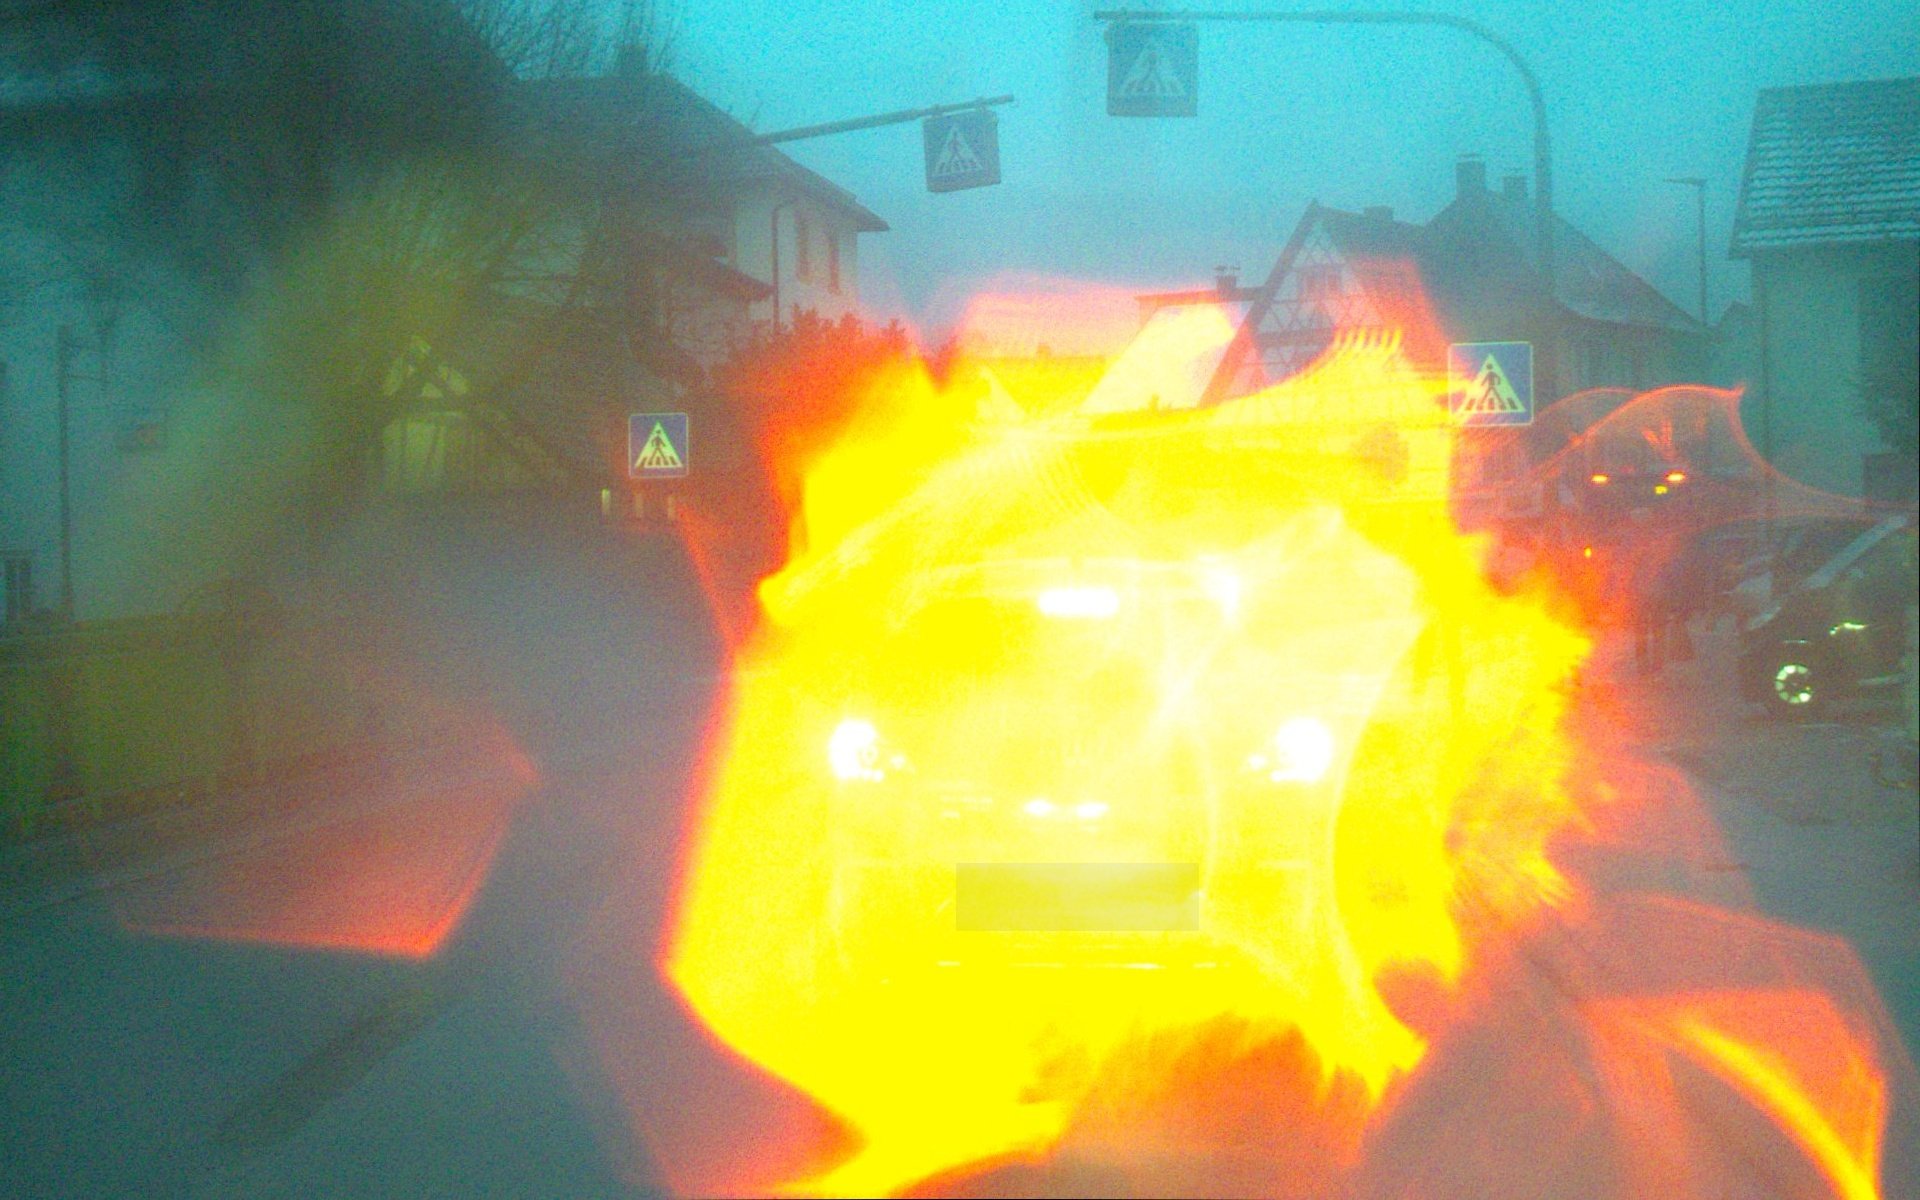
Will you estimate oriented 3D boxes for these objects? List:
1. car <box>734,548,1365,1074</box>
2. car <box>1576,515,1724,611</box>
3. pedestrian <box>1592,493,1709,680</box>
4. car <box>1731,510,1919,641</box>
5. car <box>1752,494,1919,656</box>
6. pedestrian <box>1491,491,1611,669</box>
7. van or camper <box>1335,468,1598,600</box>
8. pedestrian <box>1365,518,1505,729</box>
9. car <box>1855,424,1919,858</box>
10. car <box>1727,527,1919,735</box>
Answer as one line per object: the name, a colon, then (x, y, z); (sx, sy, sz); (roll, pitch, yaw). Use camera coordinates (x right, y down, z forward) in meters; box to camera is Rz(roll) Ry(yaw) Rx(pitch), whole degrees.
car: (0.280, 0.571, 11.799); (1.795, 1.471, 4.000); (0, 1, 1)
car: (12.220, -0.666, 60.691); (1.849, 1.631, 4.331); (0, 1, 21)
pedestrian: (6.681, -0.136, 33.240); (0.849, 1.727, 0.971); (-4, 0, 21)
car: (11.349, -0.338, 41.346); (3.903, 1.469, 1.749); (-2, 0, 16)
car: (9.406, -0.283, 34.905); (2.584, 1.542, 1.550); (-2, 1, 13)
pedestrian: (5.787, -0.201, 33.642); (0.868, 1.661, 0.991); (-4, 0, 21)
van or camper: (13.003, -1.682, 88.412); (6.070, 2.945, 2.402); (-4, -1, 29)
pedestrian: (4.080, 0.194, 29.474); (0.880, 1.729, 0.954); (-4, 0, 21)
car: (6.151, 0.069, 15.094); (4.043, 1.837, 1.863); (-3, 0, 9)
car: (7.198, 0.191, 25.712); (2.765, 1.469, 1.426); (-2, 0, 14)
